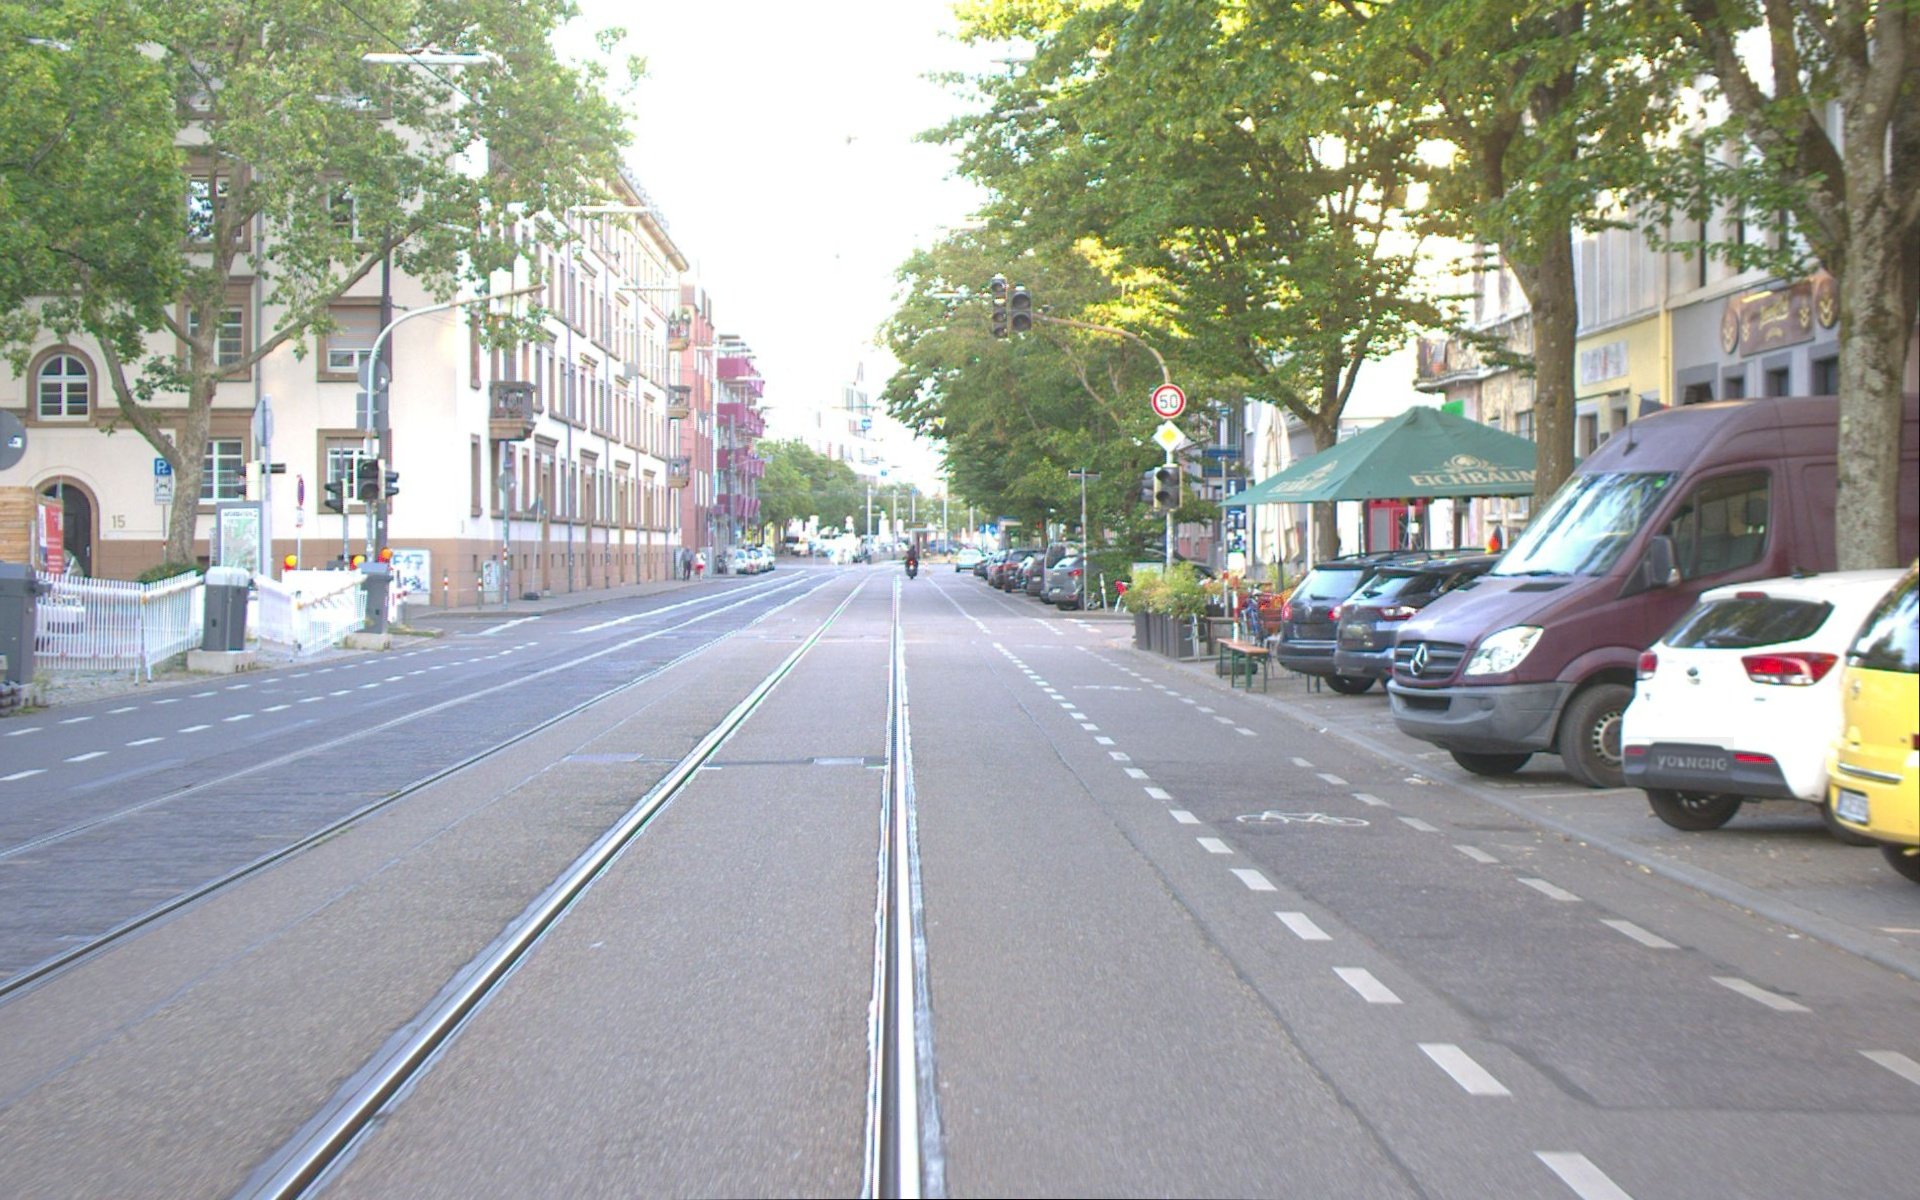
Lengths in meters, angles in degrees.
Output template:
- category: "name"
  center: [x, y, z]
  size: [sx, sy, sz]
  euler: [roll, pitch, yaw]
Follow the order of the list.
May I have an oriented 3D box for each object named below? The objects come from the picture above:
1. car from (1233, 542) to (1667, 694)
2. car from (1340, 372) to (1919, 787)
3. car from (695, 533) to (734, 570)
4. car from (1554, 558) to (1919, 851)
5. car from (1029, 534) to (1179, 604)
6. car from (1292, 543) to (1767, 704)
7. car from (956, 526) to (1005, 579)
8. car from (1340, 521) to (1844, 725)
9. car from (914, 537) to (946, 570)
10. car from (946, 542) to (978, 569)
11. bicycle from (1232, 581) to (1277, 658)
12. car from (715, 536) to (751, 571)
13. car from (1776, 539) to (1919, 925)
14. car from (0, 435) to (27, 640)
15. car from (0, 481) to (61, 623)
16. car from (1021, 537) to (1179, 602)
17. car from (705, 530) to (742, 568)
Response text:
- category: "car"
  center: [5.272, 0.165, 36.978]
  size: [4.174, 1.493, 2.009]
  euler: [-1, 1, -25]
- category: "car"
  center: [5.447, -0.200, 24.004]
  size: [5.093, 2.633, 2.022]
  euler: [-2, 1, -17]
- category: "car"
  center: [-13.656, -2.723, 191.554]
  size: [1.898, 2.007, 4.000]
  euler: [1, 1, -1]
- category: "car"
  center: [5.568, 0.498, 19.354]
  size: [3.950, 1.481, 1.921]
  euler: [-2, 0, -24]
- category: "car"
  center: [3.807, -0.822, 91.342]
  size: [3.887, 1.842, 1.861]
  euler: [0, 0, 0]
- category: "car"
  center: [5.632, 0.211, 34.143]
  size: [4.174, 1.457, 2.009]
  euler: [-1, 1, -17]
- category: "car"
  center: [0.792, -1.870, 133.658]
  size: [1.804, 2.007, 4.000]
  euler: [1, 1, -1]
- category: "car"
  center: [5.543, 0.184, 30.418]
  size: [4.011, 1.702, 1.818]
  euler: [-1, 0, -7]
- category: "car"
  center: [-1.838, -2.862, 211.152]
  size: [1.898, 2.007, 4.000]
  euler: [1, 1, -1]
- category: "car"
  center: [0.115, -2.909, 222.442]
  size: [1.963, 1.713, 4.000]
  euler: [1, 1, -1]
- category: "bicycle"
  center: [4.063, 0.258, 47.458]
  size: [0.418, 1.012, 1.830]
  euler: [1, 1, -1]
- category: "car"
  center: [-13.313, -2.761, 201.760]
  size: [1.898, 2.007, 4.000]
  euler: [1, 1, -1]
- category: "car"
  center: [5.876, 0.488, 15.363]
  size: [3.950, 1.614, 1.921]
  euler: [-2, 0, 0]
- category: "car"
  center: [-14.624, -0.873, 42.771]
  size: [5.398, 2.549, 2.227]
  euler: [2, 1, -3]
- category: "car"
  center: [-15.580, -0.782, 48.674]
  size: [5.027, 1.938, 2.227]
  euler: [2, 1, 4]
- category: "car"
  center: [3.495, -0.768, 86.102]
  size: [3.887, 1.587, 1.861]
  euler: [0, 1, 0]
- category: "car"
  center: [-13.475, -2.915, 196.199]
  size: [1.898, 2.171, 4.000]
  euler: [1, 1, -1]
